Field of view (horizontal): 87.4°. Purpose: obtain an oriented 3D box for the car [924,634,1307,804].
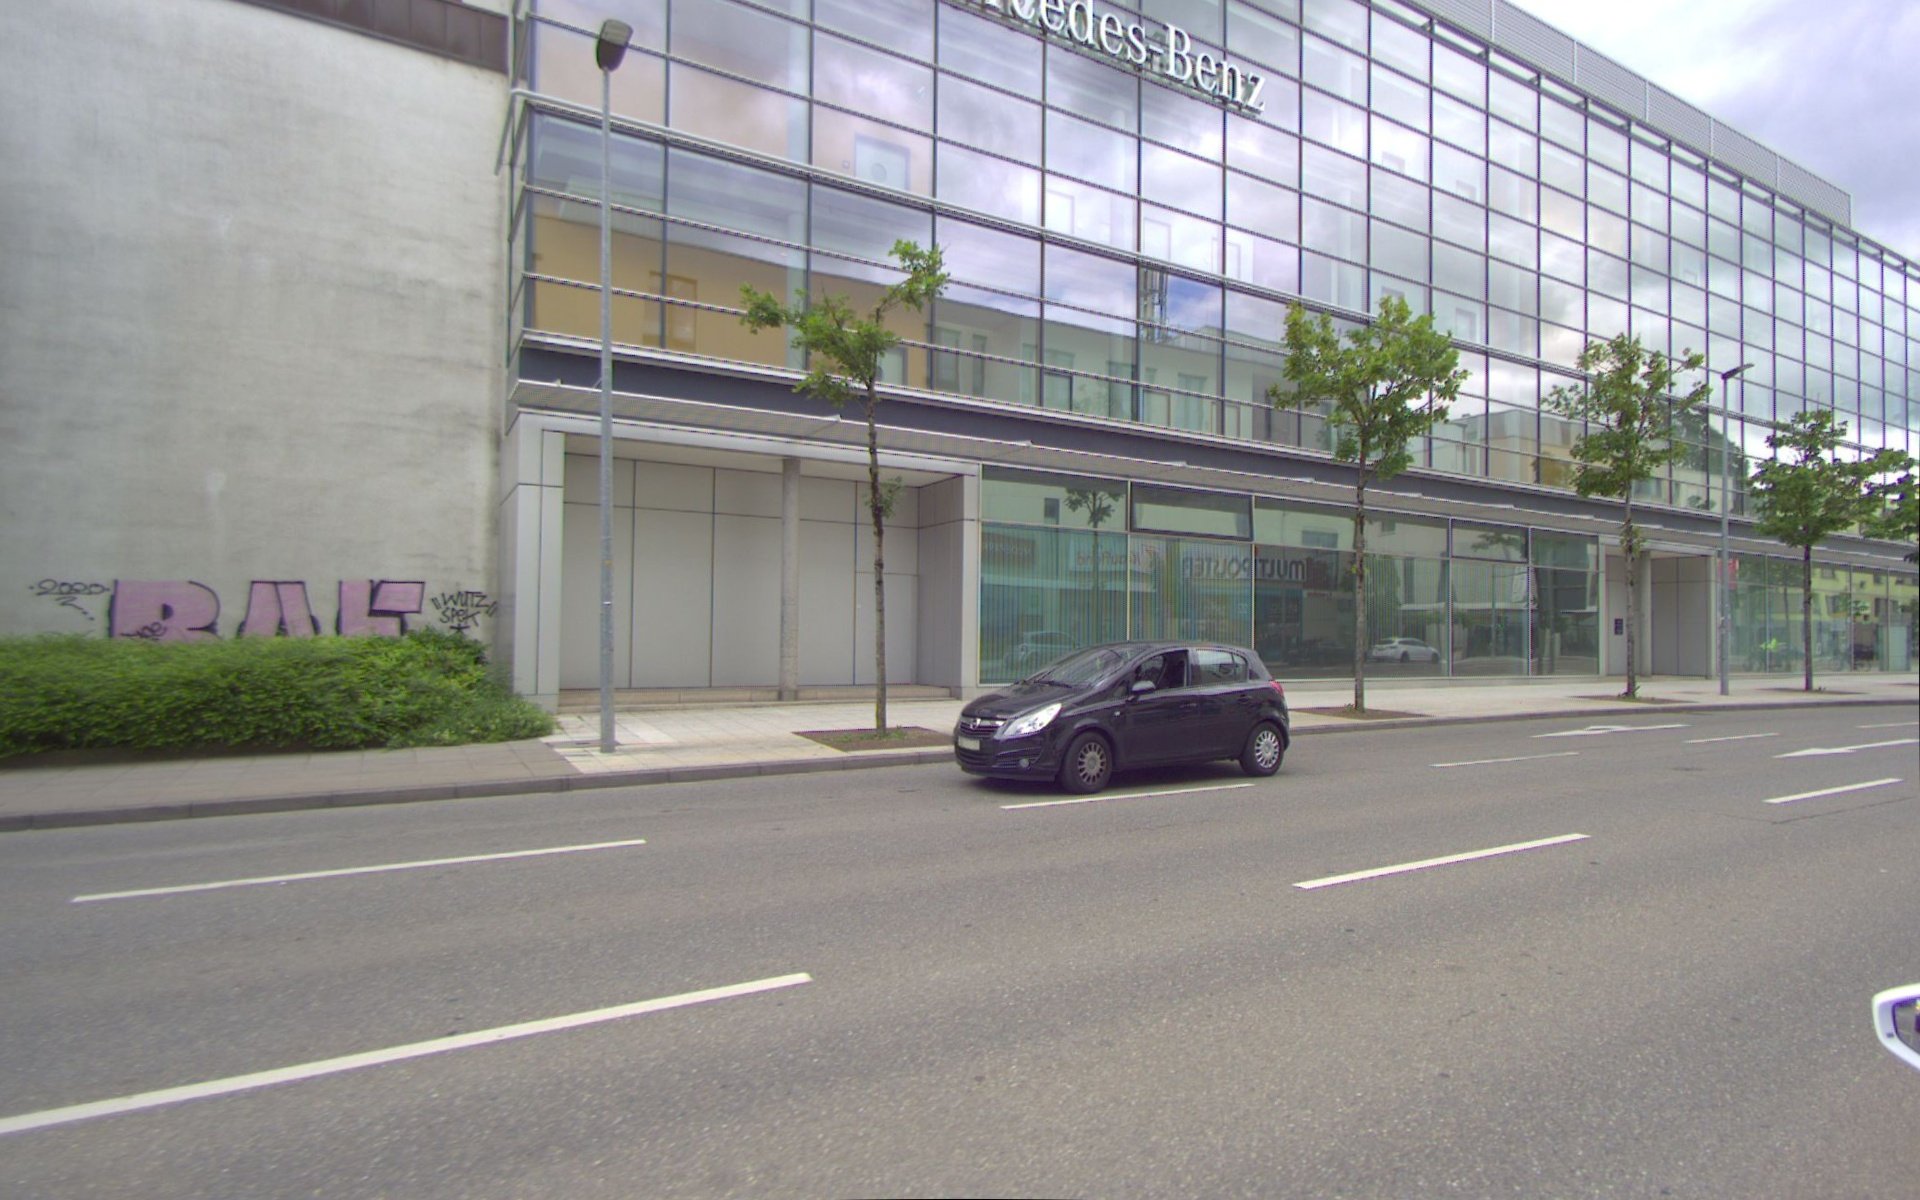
[{"bbox_3d":[1.721,1.129,10.695,3.957,1.499,1.651,1,-3,-33],"label":"car"}]
